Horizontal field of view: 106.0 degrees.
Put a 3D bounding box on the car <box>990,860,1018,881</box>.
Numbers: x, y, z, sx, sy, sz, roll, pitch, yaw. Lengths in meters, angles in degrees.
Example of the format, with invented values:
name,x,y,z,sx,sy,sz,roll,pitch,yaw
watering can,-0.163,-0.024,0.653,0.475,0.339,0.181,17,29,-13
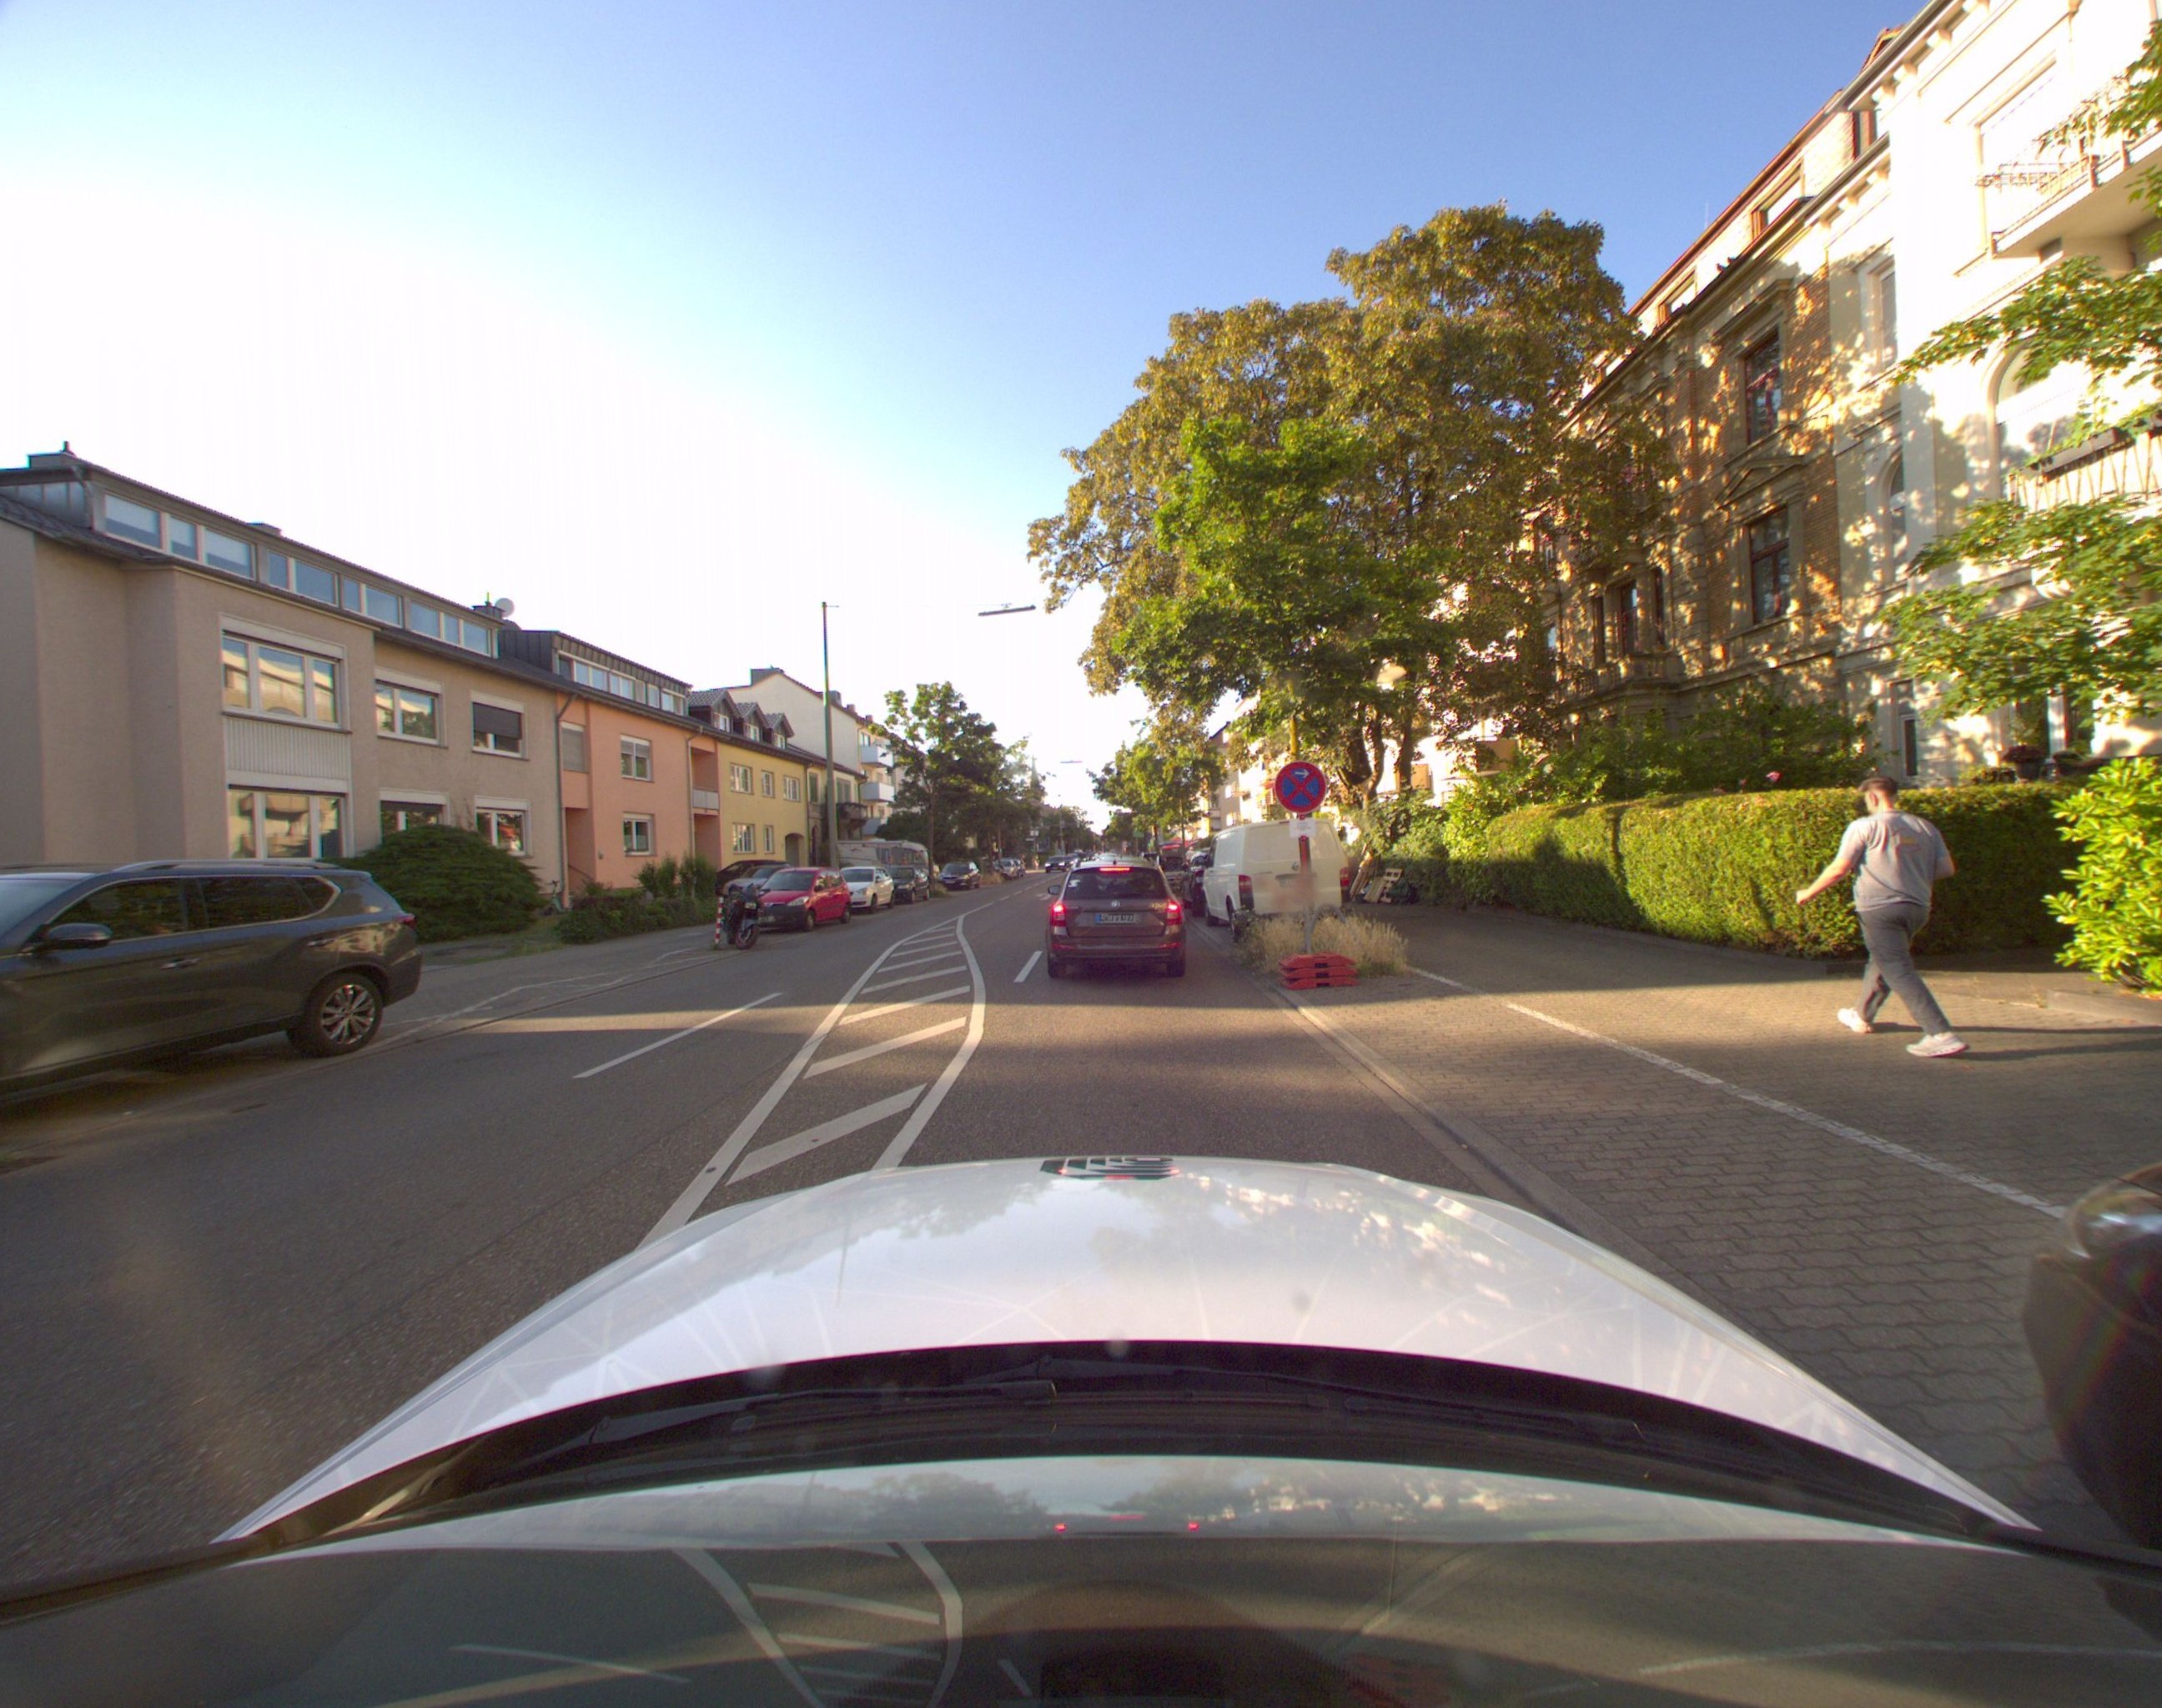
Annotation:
name,x,y,z,sx,sy,sz,roll,pitch,yaw
car,-5.627,1.174,60.039,1.587,1.470,3.805,0,0,2

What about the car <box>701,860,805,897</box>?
name,x,y,z,sx,sy,sz,roll,pitch,yaw
car,-14.998,1.102,37.409,3.971,1.636,1.867,0,0,2

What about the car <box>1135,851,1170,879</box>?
name,x,y,z,sx,sy,sz,roll,pitch,yaw
car,4.482,0.658,51.286,1.849,1.581,4.015,-4,0,1

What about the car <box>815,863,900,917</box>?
name,x,y,z,sx,sy,sz,roll,pitch,yaw
car,-7.179,1.106,26.561,1.587,1.523,3.891,-2,0,1

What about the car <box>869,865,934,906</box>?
name,x,y,z,sx,sy,sz,roll,pitch,yaw
car,-6.848,1.162,31.326,1.537,1.396,3.667,-2,0,2

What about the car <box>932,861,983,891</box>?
name,x,y,z,sx,sy,sz,roll,pitch,yaw
car,-6.478,1.122,43.181,1.860,1.494,4.519,-1,0,2

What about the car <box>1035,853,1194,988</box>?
name,x,y,z,sx,sy,sz,roll,pitch,yaw
car,0.436,0.755,11.341,1.766,1.489,4.312,-1,0,1

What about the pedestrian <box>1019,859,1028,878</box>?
name,x,y,z,sx,sy,sz,roll,pitch,yaw
pedestrian,-6.048,1.497,85.655,0.777,1.987,0.821,-3,0,2

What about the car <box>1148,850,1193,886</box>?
name,x,y,z,sx,sy,sz,roll,pitch,yaw
car,4.219,0.628,39.003,1.702,1.480,4.270,-4,0,1

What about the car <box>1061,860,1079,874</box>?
name,x,y,z,sx,sy,sz,roll,pitch,yaw
car,-1.260,1.493,96.606,1.754,1.452,4.536,-4,0,2

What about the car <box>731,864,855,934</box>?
name,x,y,z,sx,sy,sz,roll,pitch,yaw
car,-7.085,1.051,20.393,1.585,1.523,3.440,-2,0,4

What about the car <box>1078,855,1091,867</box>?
name,x,y,z,sx,sy,sz,roll,pitch,yaw
car,0.653,1.271,146.905,1.986,1.908,4.965,-4,0,1

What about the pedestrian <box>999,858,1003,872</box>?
name,x,y,z,sx,sy,sz,roll,pitch,yaw
pedestrian,-9.968,1.357,101.442,0.447,1.797,0.504,-3,0,2

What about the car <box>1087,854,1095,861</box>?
name,x,y,z,sx,sy,sz,roll,pitch,yaw
car,2.549,0.929,207.198,1.823,1.579,4.002,-3,0,2

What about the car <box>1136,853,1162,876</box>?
name,x,y,z,sx,sy,sz,roll,pitch,yaw
car,4.752,0.685,57.032,1.696,1.450,4.018,-4,0,4

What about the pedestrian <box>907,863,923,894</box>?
name,x,y,z,sx,sy,sz,roll,pitch,yaw
pedestrian,-8.271,1.210,40.532,0.587,1.496,0.543,-2,0,4

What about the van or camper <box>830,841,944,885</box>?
name,x,y,z,sx,sy,sz,roll,pitch,yaw
van or camper,-12.442,0.576,52.584,6.774,2.773,2.352,0,0,0

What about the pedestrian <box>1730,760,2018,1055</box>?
name,x,y,z,sx,sy,sz,roll,pitch,yaw
pedestrian,5.284,0.324,5.523,0.818,1.774,1.088,-2,0,-2

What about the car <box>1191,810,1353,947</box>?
name,x,y,z,sx,sy,sz,roll,pitch,yaw
car,3.340,0.386,15.228,1.897,2.103,4.640,-2,0,0

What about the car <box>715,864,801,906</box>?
name,x,y,z,sx,sy,sz,roll,pitch,yaw
car,-12.662,1.177,32.178,1.658,1.409,3.756,-3,0,3

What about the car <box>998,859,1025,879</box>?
name,x,y,z,sx,sy,sz,roll,pitch,yaw
car,-5.460,1.155,64.668,1.642,1.517,4.076,-1,0,2

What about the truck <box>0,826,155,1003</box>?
name,x,y,z,sx,sy,sz,roll,pitch,yaw
truck,-16.764,0.884,10.581,6.869,2.185,2.277,-2,0,1

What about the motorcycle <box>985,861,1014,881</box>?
name,x,y,z,sx,sy,sz,roll,pitch,yaw
motorcycle,-5.631,1.182,56.328,2.028,1.265,0.772,-3,0,40

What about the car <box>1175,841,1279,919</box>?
name,x,y,z,sx,sy,sz,roll,pitch,yaw
car,3.543,0.584,20.547,1.849,1.603,4.313,-5,0,1

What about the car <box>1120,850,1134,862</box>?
name,x,y,z,sx,sy,sz,roll,pitch,yaw
car,7.170,0.335,126.429,1.984,1.772,4.005,0,0,5

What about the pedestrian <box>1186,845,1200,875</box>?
name,x,y,z,sx,sy,sz,roll,pitch,yaw
pedestrian,6.654,0.373,48.426,0.660,1.749,0.773,-4,-1,3

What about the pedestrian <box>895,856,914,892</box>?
name,x,y,z,sx,sy,sz,roll,pitch,yaw
pedestrian,-8.977,1.017,41.471,0.710,1.792,0.572,-2,0,4

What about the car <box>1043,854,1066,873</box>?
name,x,y,z,sx,sy,sz,roll,pitch,yaw
car,-2.468,0.885,77.520,1.829,1.570,4.001,-4,-1,1

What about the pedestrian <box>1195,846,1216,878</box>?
name,x,y,z,sx,sy,sz,roll,pitch,yaw
pedestrian,6.614,0.408,43.252,0.748,1.640,0.700,-3,0,38

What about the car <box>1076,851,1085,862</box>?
name,x,y,z,sx,sy,sz,roll,pitch,yaw
car,-0.054,0.545,199.005,1.986,2.478,4.002,-2,0,2

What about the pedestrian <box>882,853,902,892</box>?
name,x,y,z,sx,sy,sz,roll,pitch,yaw
pedestrian,-8.852,0.850,38.165,0.710,1.792,0.506,-2,0,4

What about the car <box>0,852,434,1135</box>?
name,x,y,z,sx,sy,sz,roll,pitch,yaw
car,-7.747,0.915,6.127,1.881,1.779,4.726,-2,0,1

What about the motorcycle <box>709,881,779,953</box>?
name,x,y,z,sx,sy,sz,roll,pitch,yaw
motorcycle,-6.827,1.227,16.572,1.184,1.266,2.352,-3,0,-22

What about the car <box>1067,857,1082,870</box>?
name,x,y,z,sx,sy,sz,roll,pitch,yaw
car,-0.860,1.331,115.492,1.799,1.804,4.747,-4,0,1

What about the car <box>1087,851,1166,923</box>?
name,x,y,z,sx,sy,sz,roll,pitch,yaw
car,1.103,0.728,19.952,1.730,1.571,4.003,0,0,3
